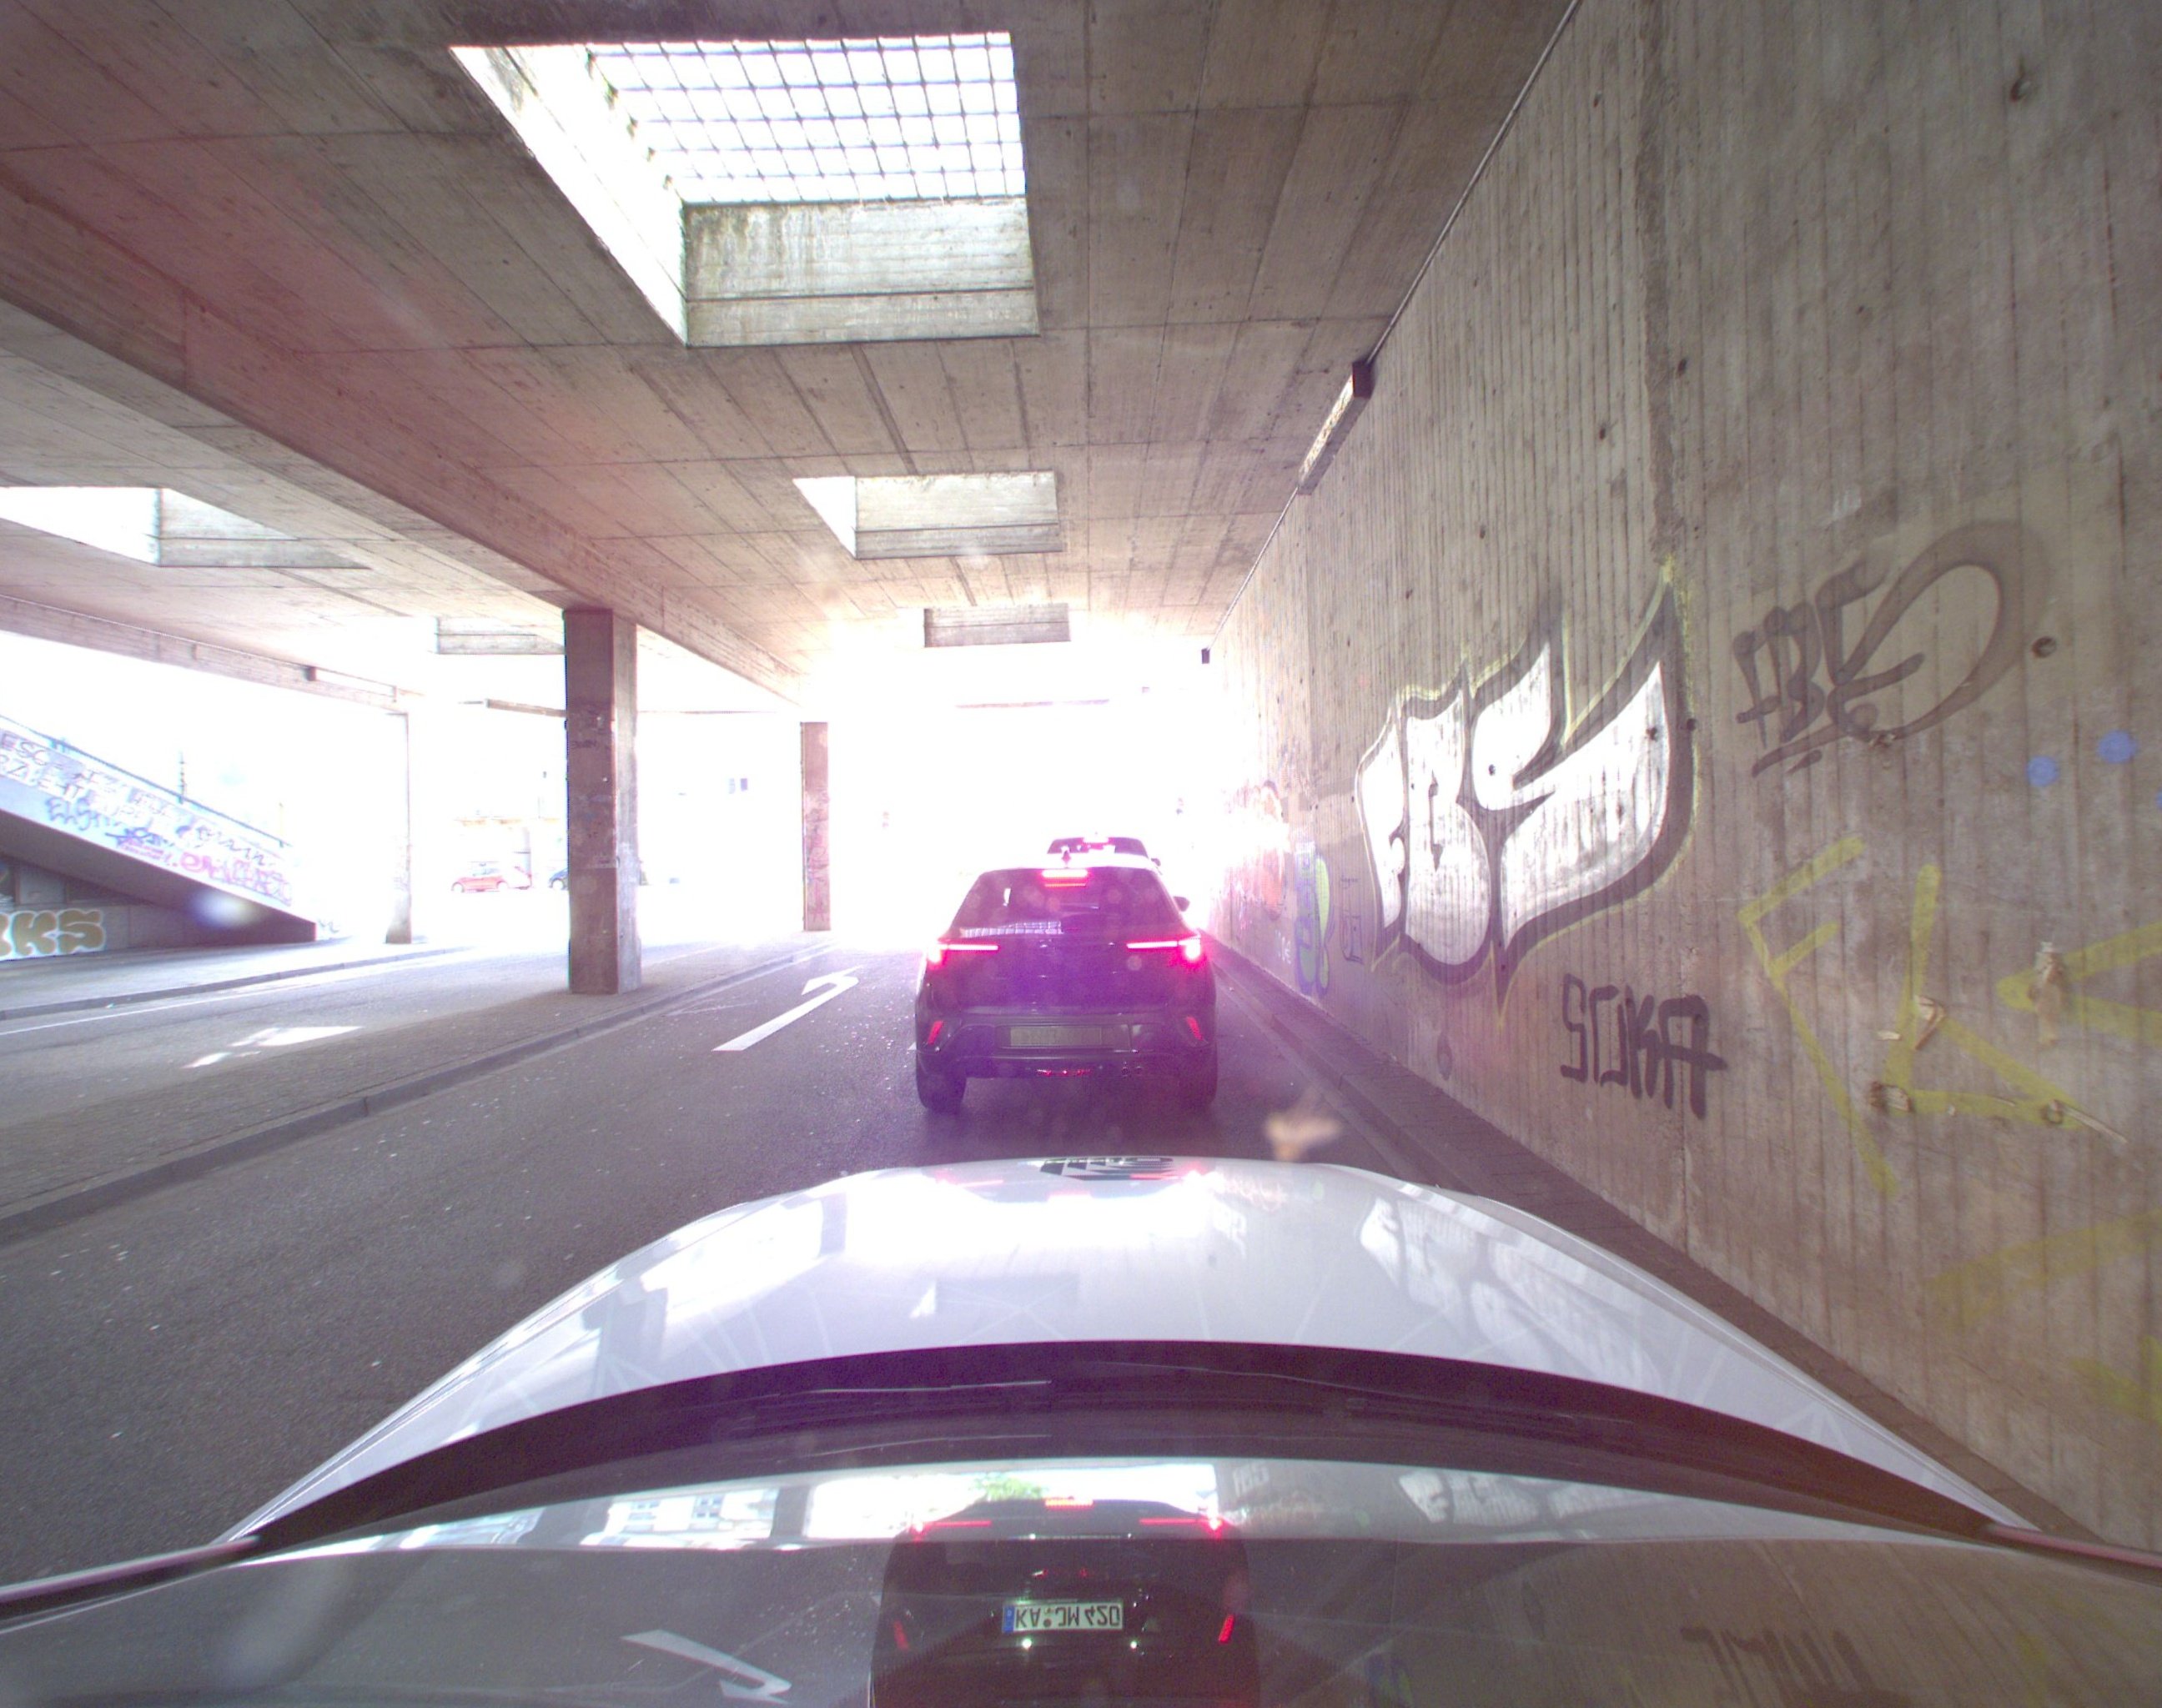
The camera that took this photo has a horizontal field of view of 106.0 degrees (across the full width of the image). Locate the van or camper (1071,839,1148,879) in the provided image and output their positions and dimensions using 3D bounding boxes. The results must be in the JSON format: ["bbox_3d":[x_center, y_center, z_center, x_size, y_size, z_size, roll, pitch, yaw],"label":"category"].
[{"bbox_3d":[1.545,0.258,43.547,3.854,2.013,2.005,-1,0,9],"label":"van or camper"}]

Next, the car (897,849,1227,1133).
[{"bbox_3d":[-0.029,0.726,6.324,1.746,1.498,4.002,0,0,2],"label":"car"}]

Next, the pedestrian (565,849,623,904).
[{"bbox_3d":[-16.090,0.732,26.921,1.103,1.737,1.146,-1,0,15],"label":"pedestrian"}]

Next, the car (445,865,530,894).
[{"bbox_3d":[-32.865,1.404,45.160,3.519,1.506,1.563,-1,0,2],"label":"car"}]

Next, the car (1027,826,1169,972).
[{"bbox_3d":[0.279,0.566,12.278,1.779,1.833,3.962,-1,0,2],"label":"car"}]

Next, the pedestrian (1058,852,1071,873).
[{"bbox_3d":[-1.245,0.648,60.951,0.729,1.585,0.894,0,-1,18],"label":"pedestrian"}]

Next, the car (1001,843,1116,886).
[{"bbox_3d":[-0.940,0.418,35.295,4.609,1.641,1.980,-2,1,-32],"label":"car"}]

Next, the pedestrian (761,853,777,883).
[{"bbox_3d":[-18.014,0.792,47.041,0.719,1.705,0.624,0,-1,-3],"label":"pedestrian"}]

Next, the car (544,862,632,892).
[{"bbox_3d":[-27.388,1.256,45.326,3.742,1.508,1.752,-2,0,0],"label":"car"}]
